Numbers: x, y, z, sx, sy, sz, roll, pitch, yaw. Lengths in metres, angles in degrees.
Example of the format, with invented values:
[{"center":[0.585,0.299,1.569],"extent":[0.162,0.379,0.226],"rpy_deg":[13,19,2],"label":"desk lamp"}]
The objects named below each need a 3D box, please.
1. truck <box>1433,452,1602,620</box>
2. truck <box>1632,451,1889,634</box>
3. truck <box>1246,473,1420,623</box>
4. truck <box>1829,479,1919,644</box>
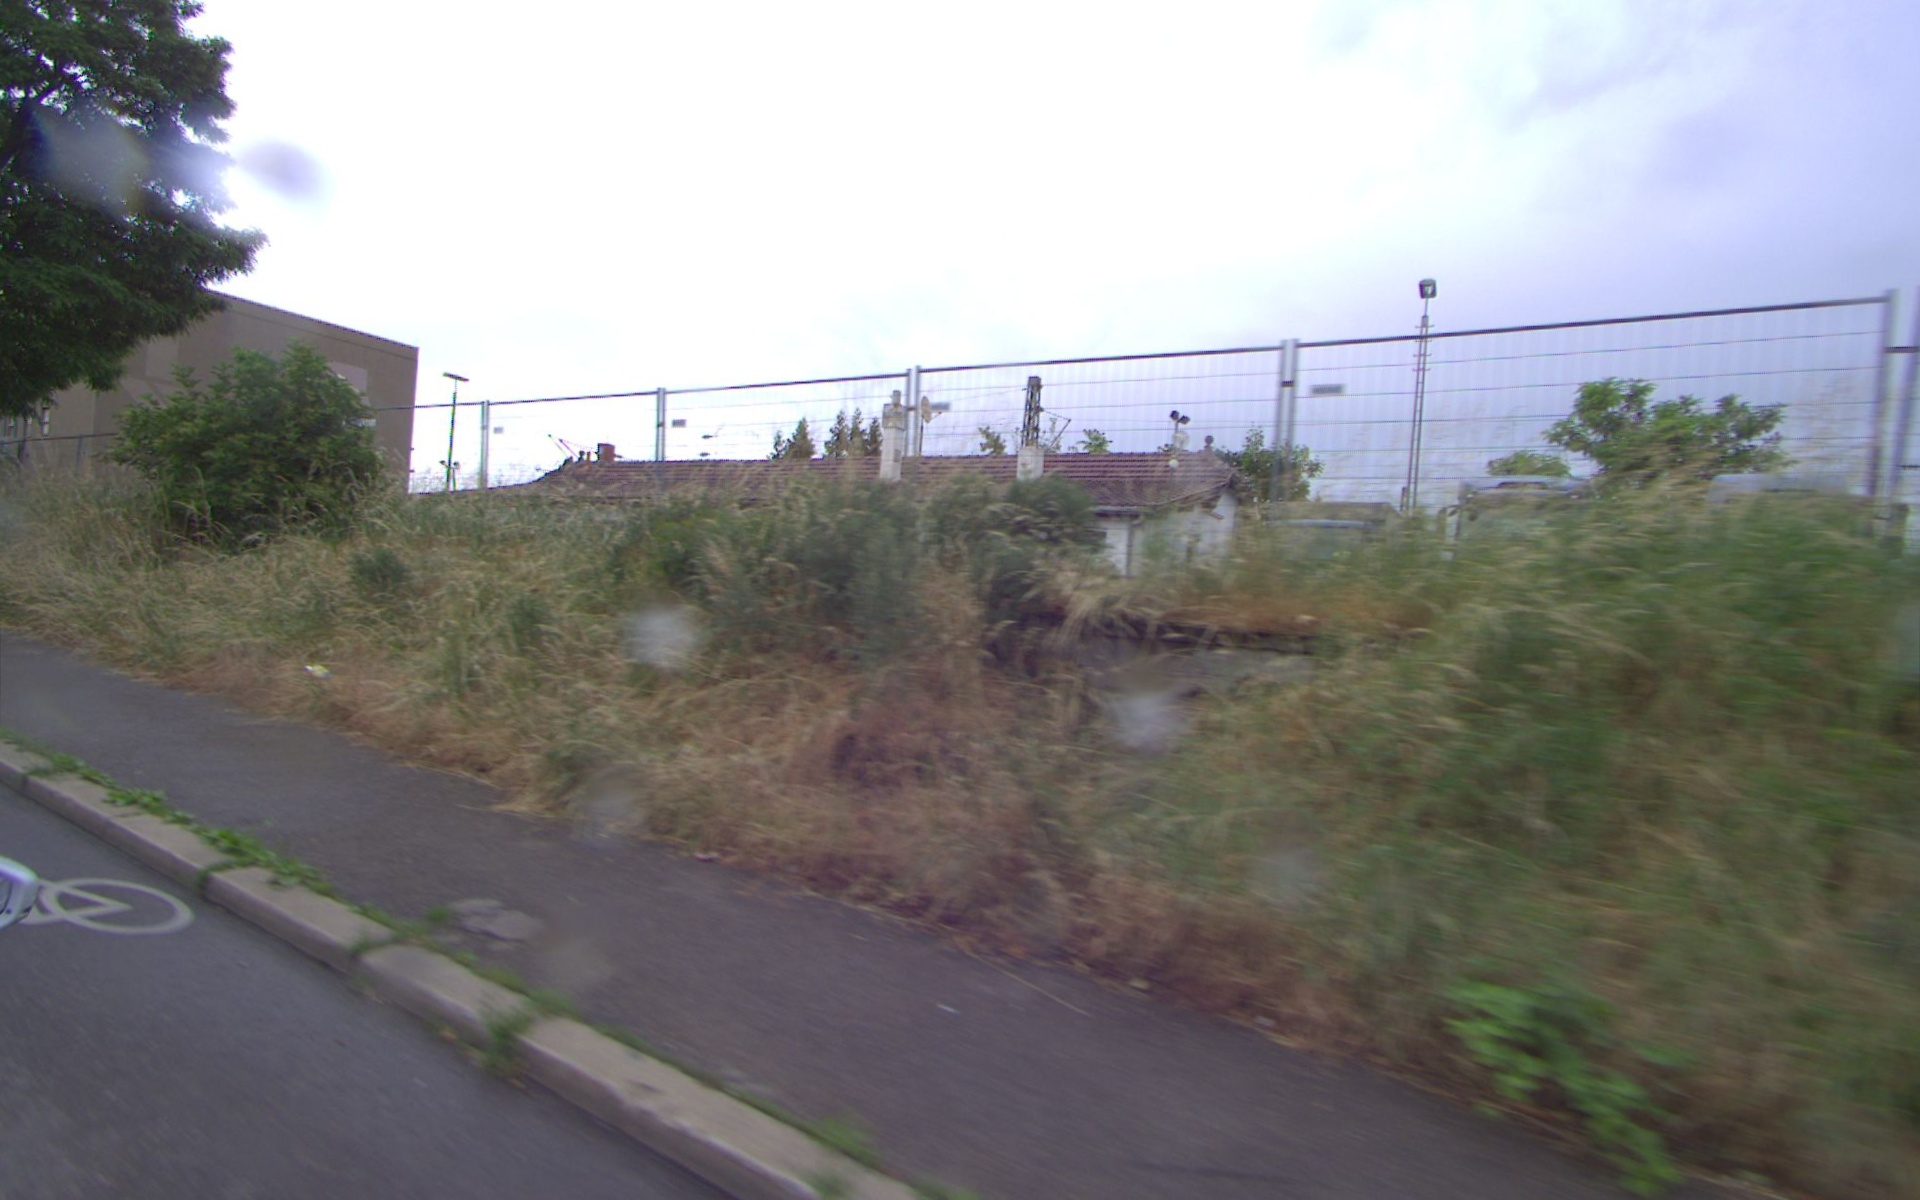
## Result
[{"center":[12.235,-1.142,22.221],"extent":[2.543,2.648,8.311],"rpy_deg":[4,-1,29],"label":"truck"},{"center":[15.637,-0.890,20.324],"extent":[2.543,2.687,8.104],"rpy_deg":[4,-1,29],"label":"truck"},{"center":[9.195,-1.037,24.133],"extent":[2.587,2.650,8.014],"rpy_deg":[4,-1,29],"label":"truck"},{"center":[18.978,-0.678,18.633],"extent":[2.543,2.772,8.018],"rpy_deg":[4,-1,29],"label":"truck"}]
